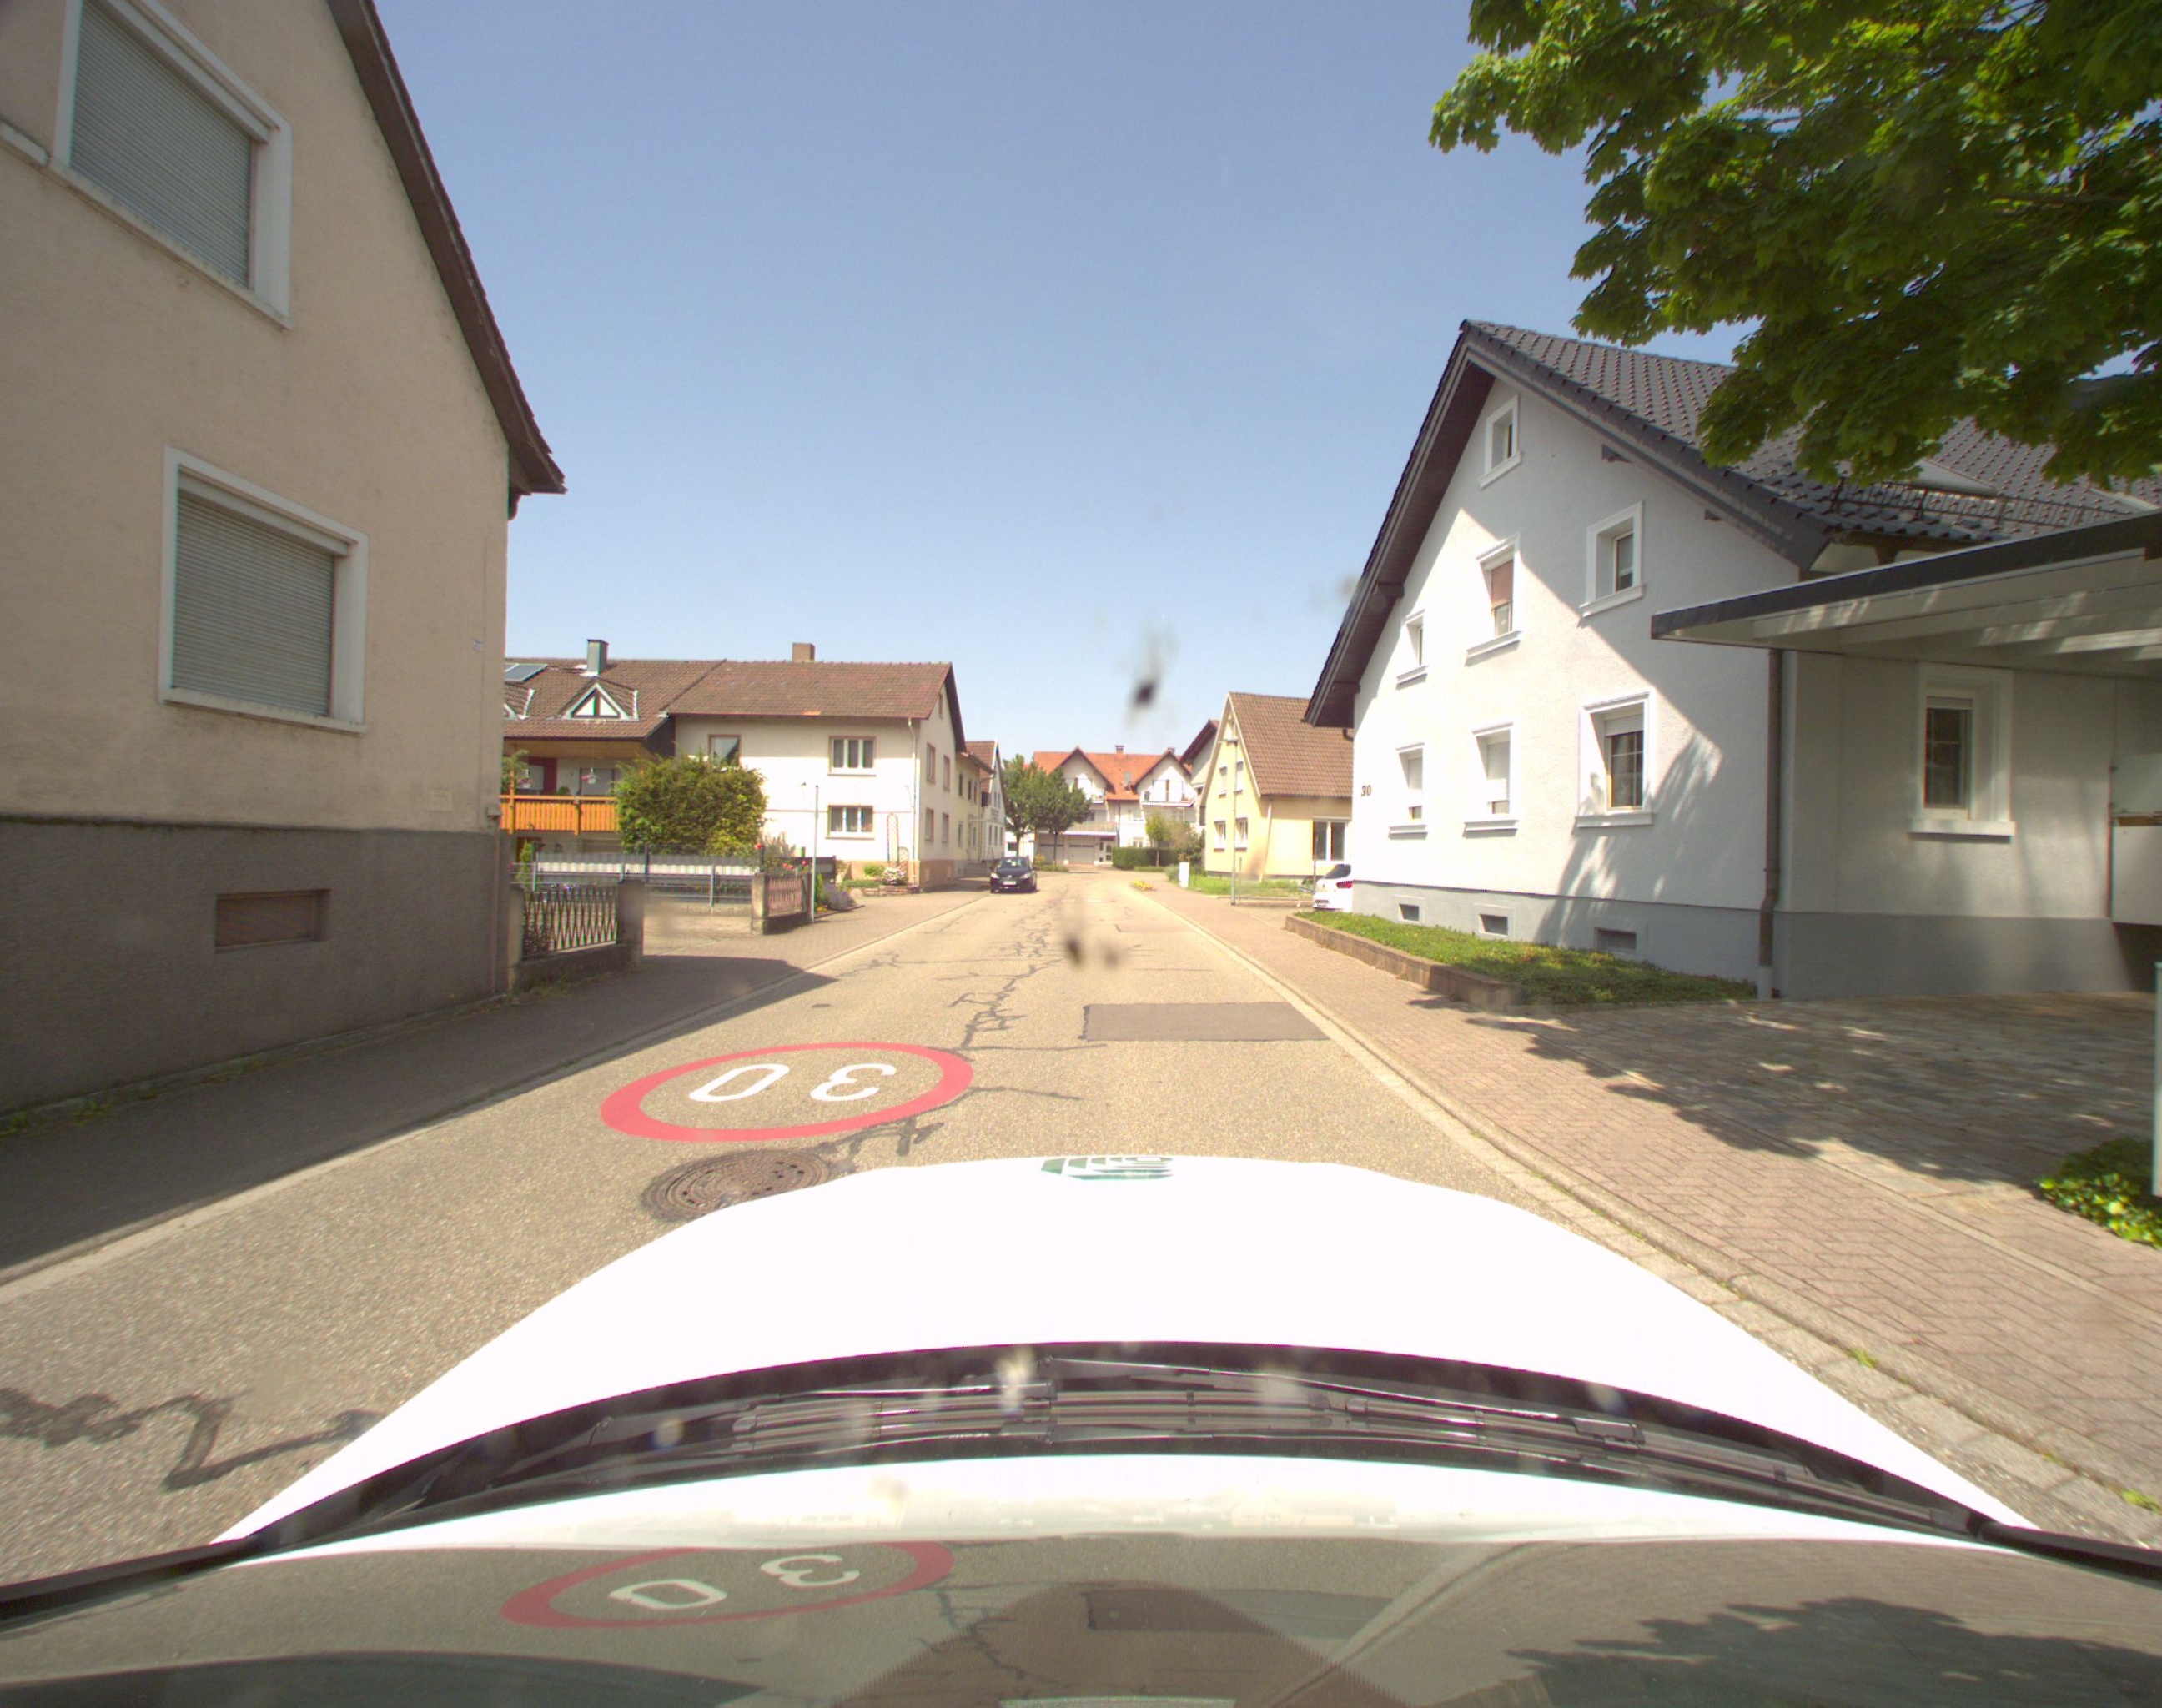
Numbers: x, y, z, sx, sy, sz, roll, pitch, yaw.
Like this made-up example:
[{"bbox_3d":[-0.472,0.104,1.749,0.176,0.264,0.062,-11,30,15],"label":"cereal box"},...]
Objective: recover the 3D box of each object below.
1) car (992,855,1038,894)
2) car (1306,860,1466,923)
[{"bbox_3d":[-2.654,0.803,33.348,1.622,1.486,3.998,0,0,-1],"label":"car"},{"bbox_3d":[6.723,0.809,18.110,3.040,1.345,1.419,0,-1,-7],"label":"car"}]
